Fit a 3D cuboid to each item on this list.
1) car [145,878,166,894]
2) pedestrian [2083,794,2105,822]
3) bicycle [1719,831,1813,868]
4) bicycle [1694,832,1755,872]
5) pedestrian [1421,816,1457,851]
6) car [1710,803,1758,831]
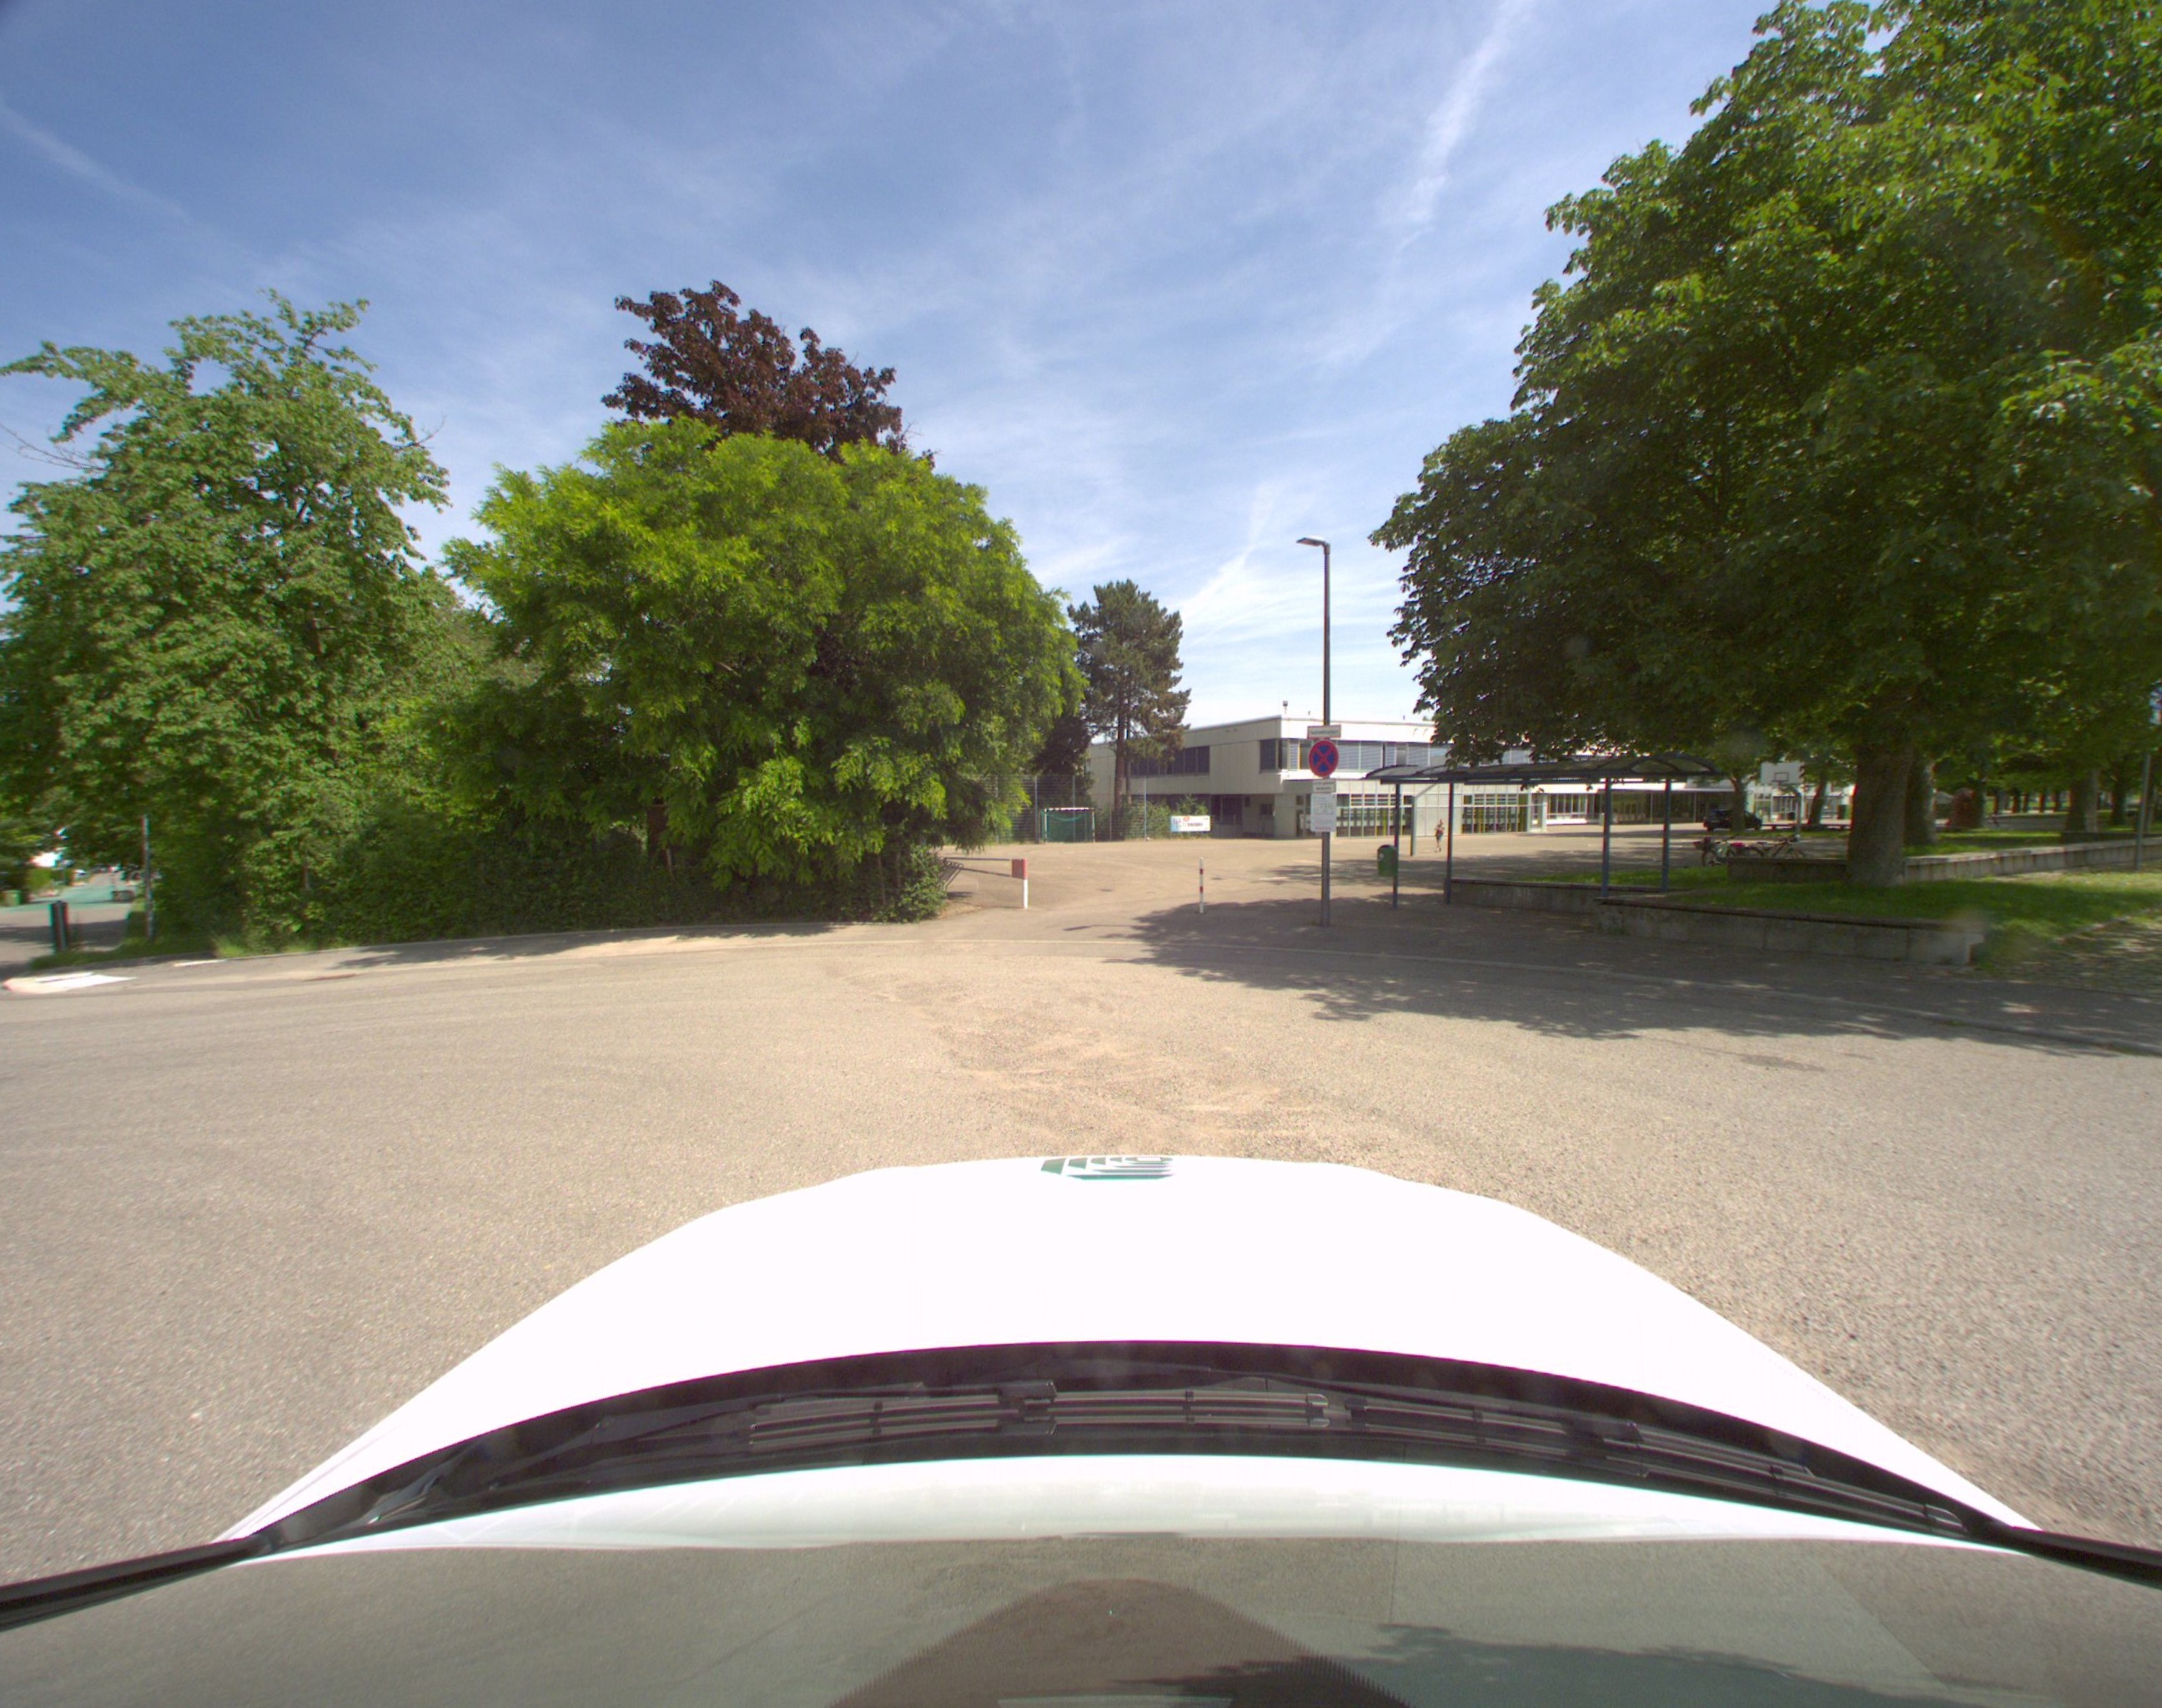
[{"bbox_3d":[-123.670,4.320,108.818,3.949,2.013,1.748,-2,0,41],"label":"car"},{"bbox_3d":[74.027,-3.363,59.522,0.824,2.013,0.696,2,3,40],"label":"pedestrian"},{"bbox_3d":[20.030,-0.140,23.848,0.575,1.039,2.044,-2,2,-41],"label":"bicycle"},{"bbox_3d":[18.150,-0.073,22.965,1.897,1.039,0.591,-2,2,-26],"label":"bicycle"},{"bbox_3d":[14.941,-0.852,33.990,1.072,1.423,0.912,-1,2,-27],"label":"pedestrian"},{"bbox_3d":[43.867,-2.487,54.726,3.426,1.834,1.678,-2,3,-36],"label":"car"}]
